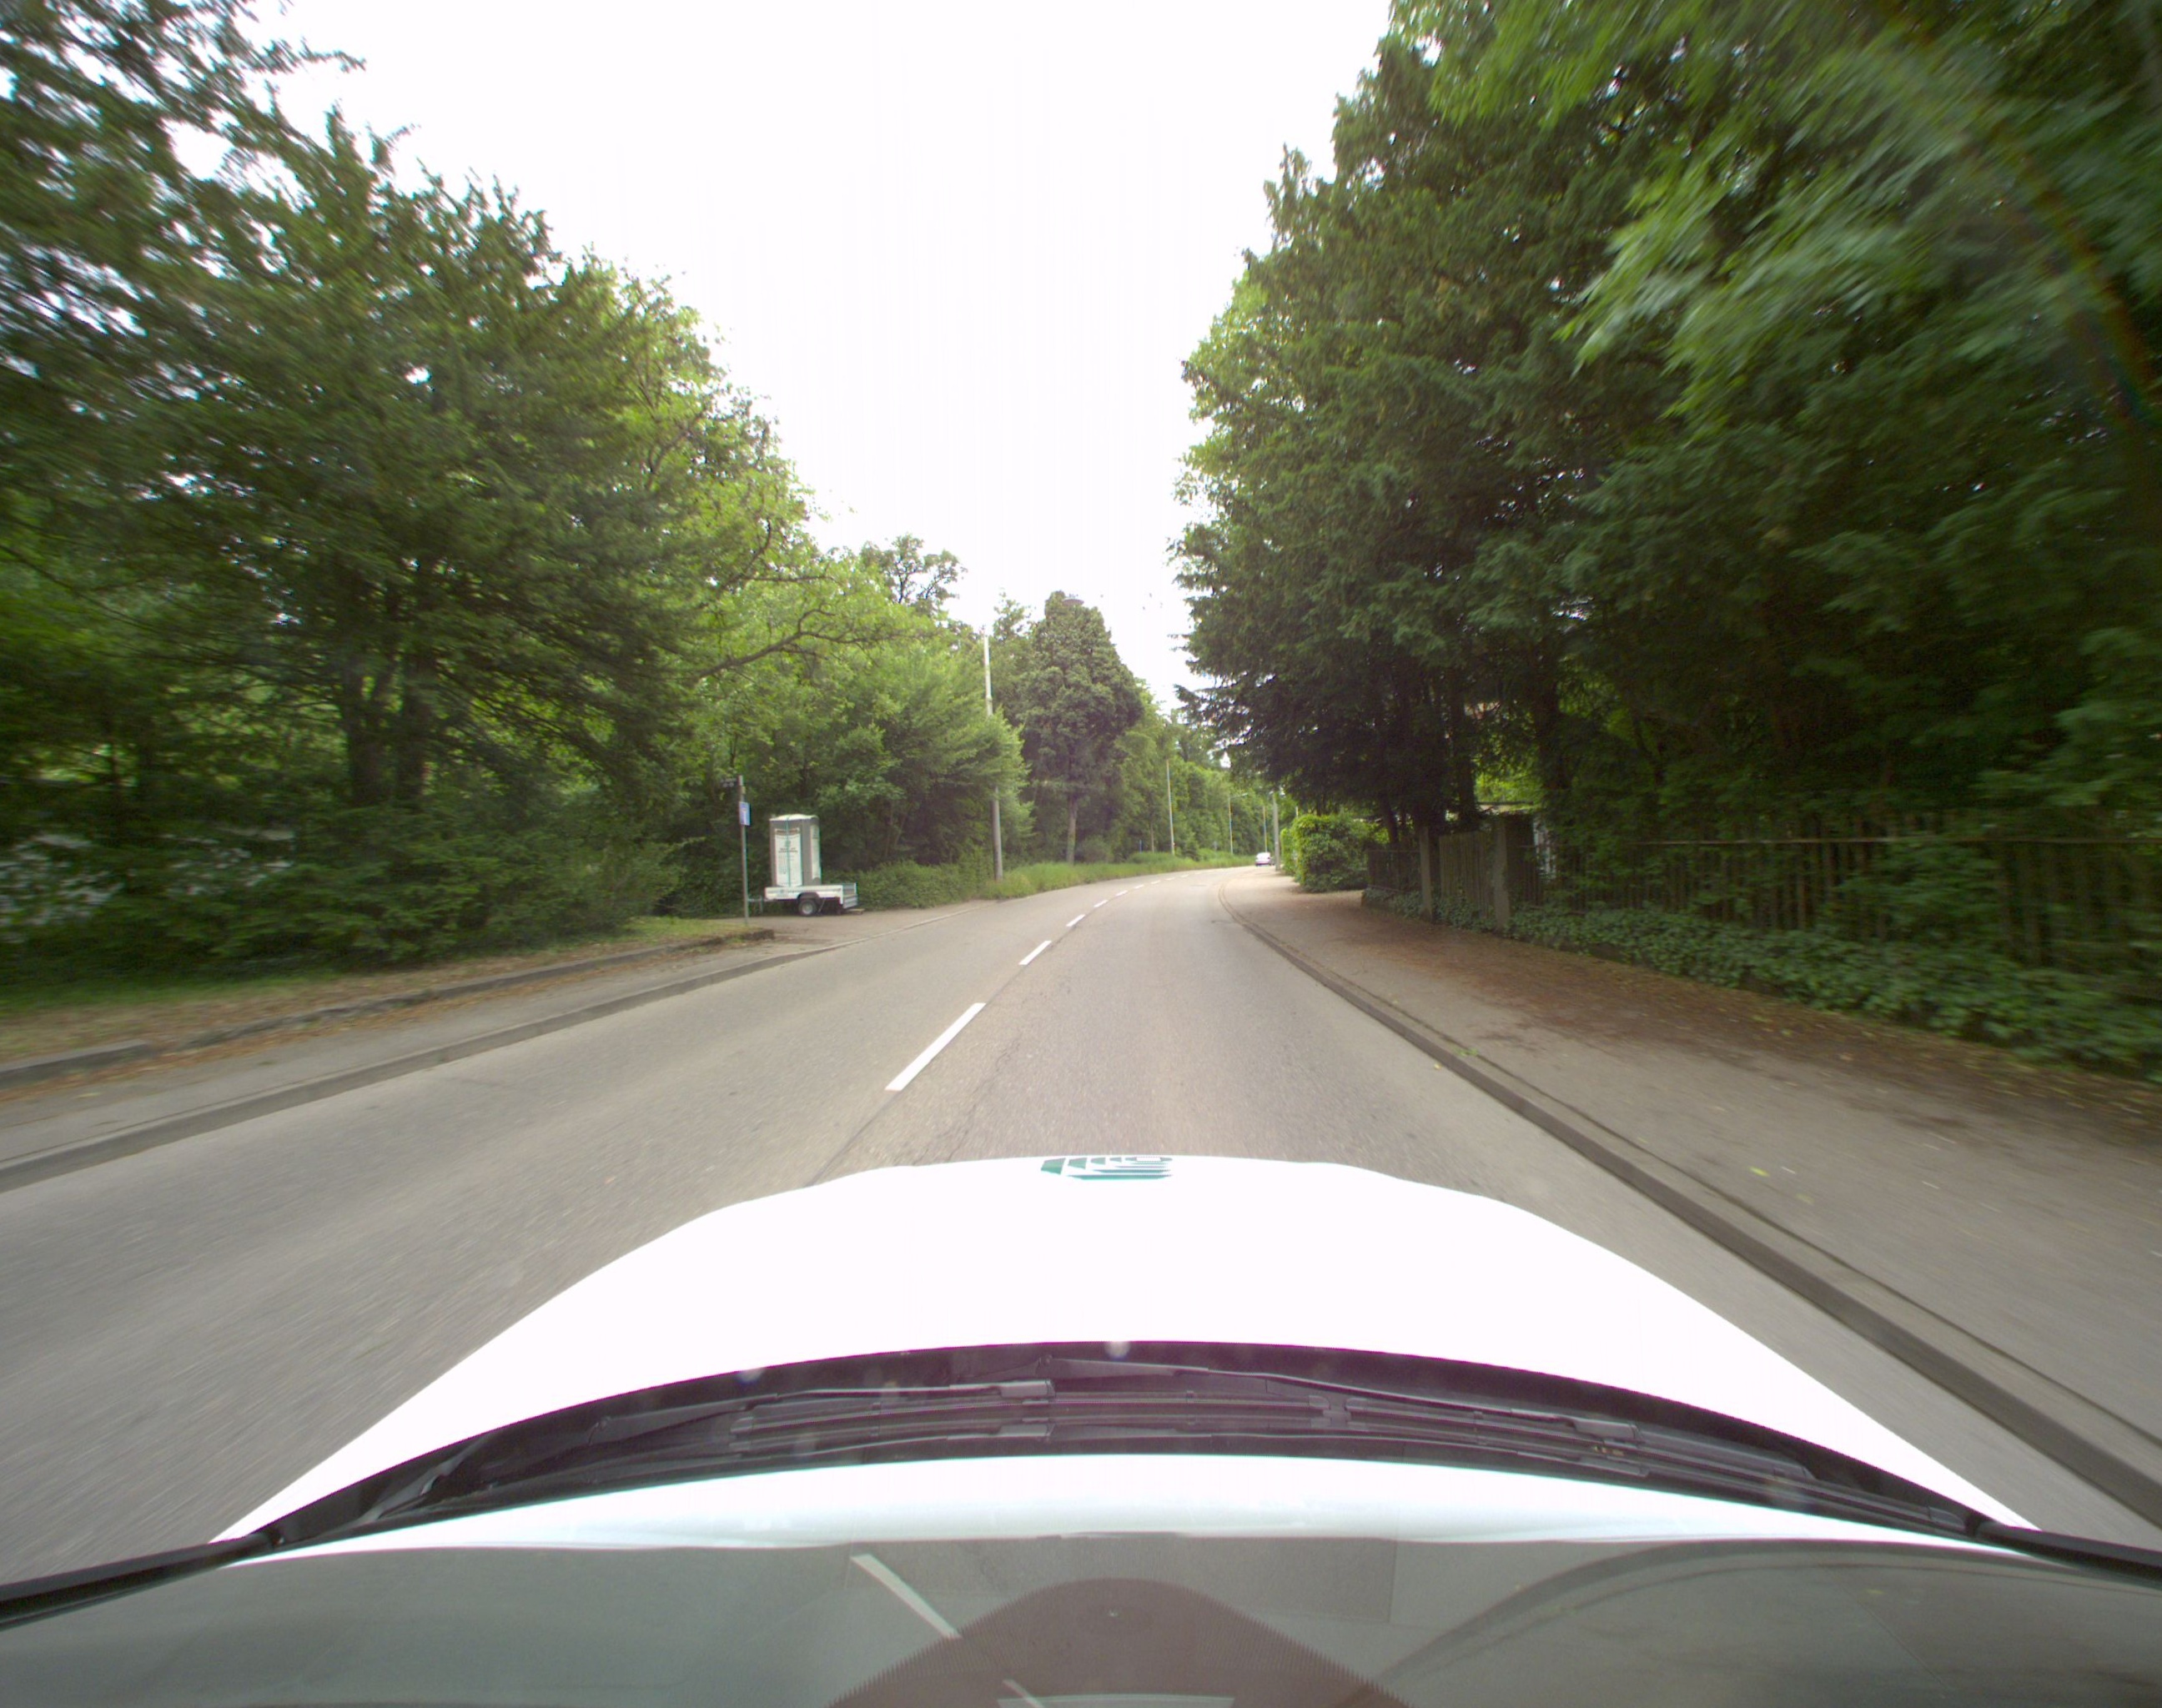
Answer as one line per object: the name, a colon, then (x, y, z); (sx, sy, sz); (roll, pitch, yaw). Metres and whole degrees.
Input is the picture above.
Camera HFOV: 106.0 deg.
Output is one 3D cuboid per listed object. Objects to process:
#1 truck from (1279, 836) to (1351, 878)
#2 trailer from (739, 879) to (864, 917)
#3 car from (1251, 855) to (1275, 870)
truck: (10.106, 0.168, 35.322); (1.356, 1.689, 3.035); (-2, 0, -23)
trailer: (-7.582, 1.192, 22.297); (2.951, 0.828, 1.473); (-3, 0, -6)
car: (19.878, 0.952, 88.758); (1.977, 1.486, 4.020); (-3, 0, 19)
